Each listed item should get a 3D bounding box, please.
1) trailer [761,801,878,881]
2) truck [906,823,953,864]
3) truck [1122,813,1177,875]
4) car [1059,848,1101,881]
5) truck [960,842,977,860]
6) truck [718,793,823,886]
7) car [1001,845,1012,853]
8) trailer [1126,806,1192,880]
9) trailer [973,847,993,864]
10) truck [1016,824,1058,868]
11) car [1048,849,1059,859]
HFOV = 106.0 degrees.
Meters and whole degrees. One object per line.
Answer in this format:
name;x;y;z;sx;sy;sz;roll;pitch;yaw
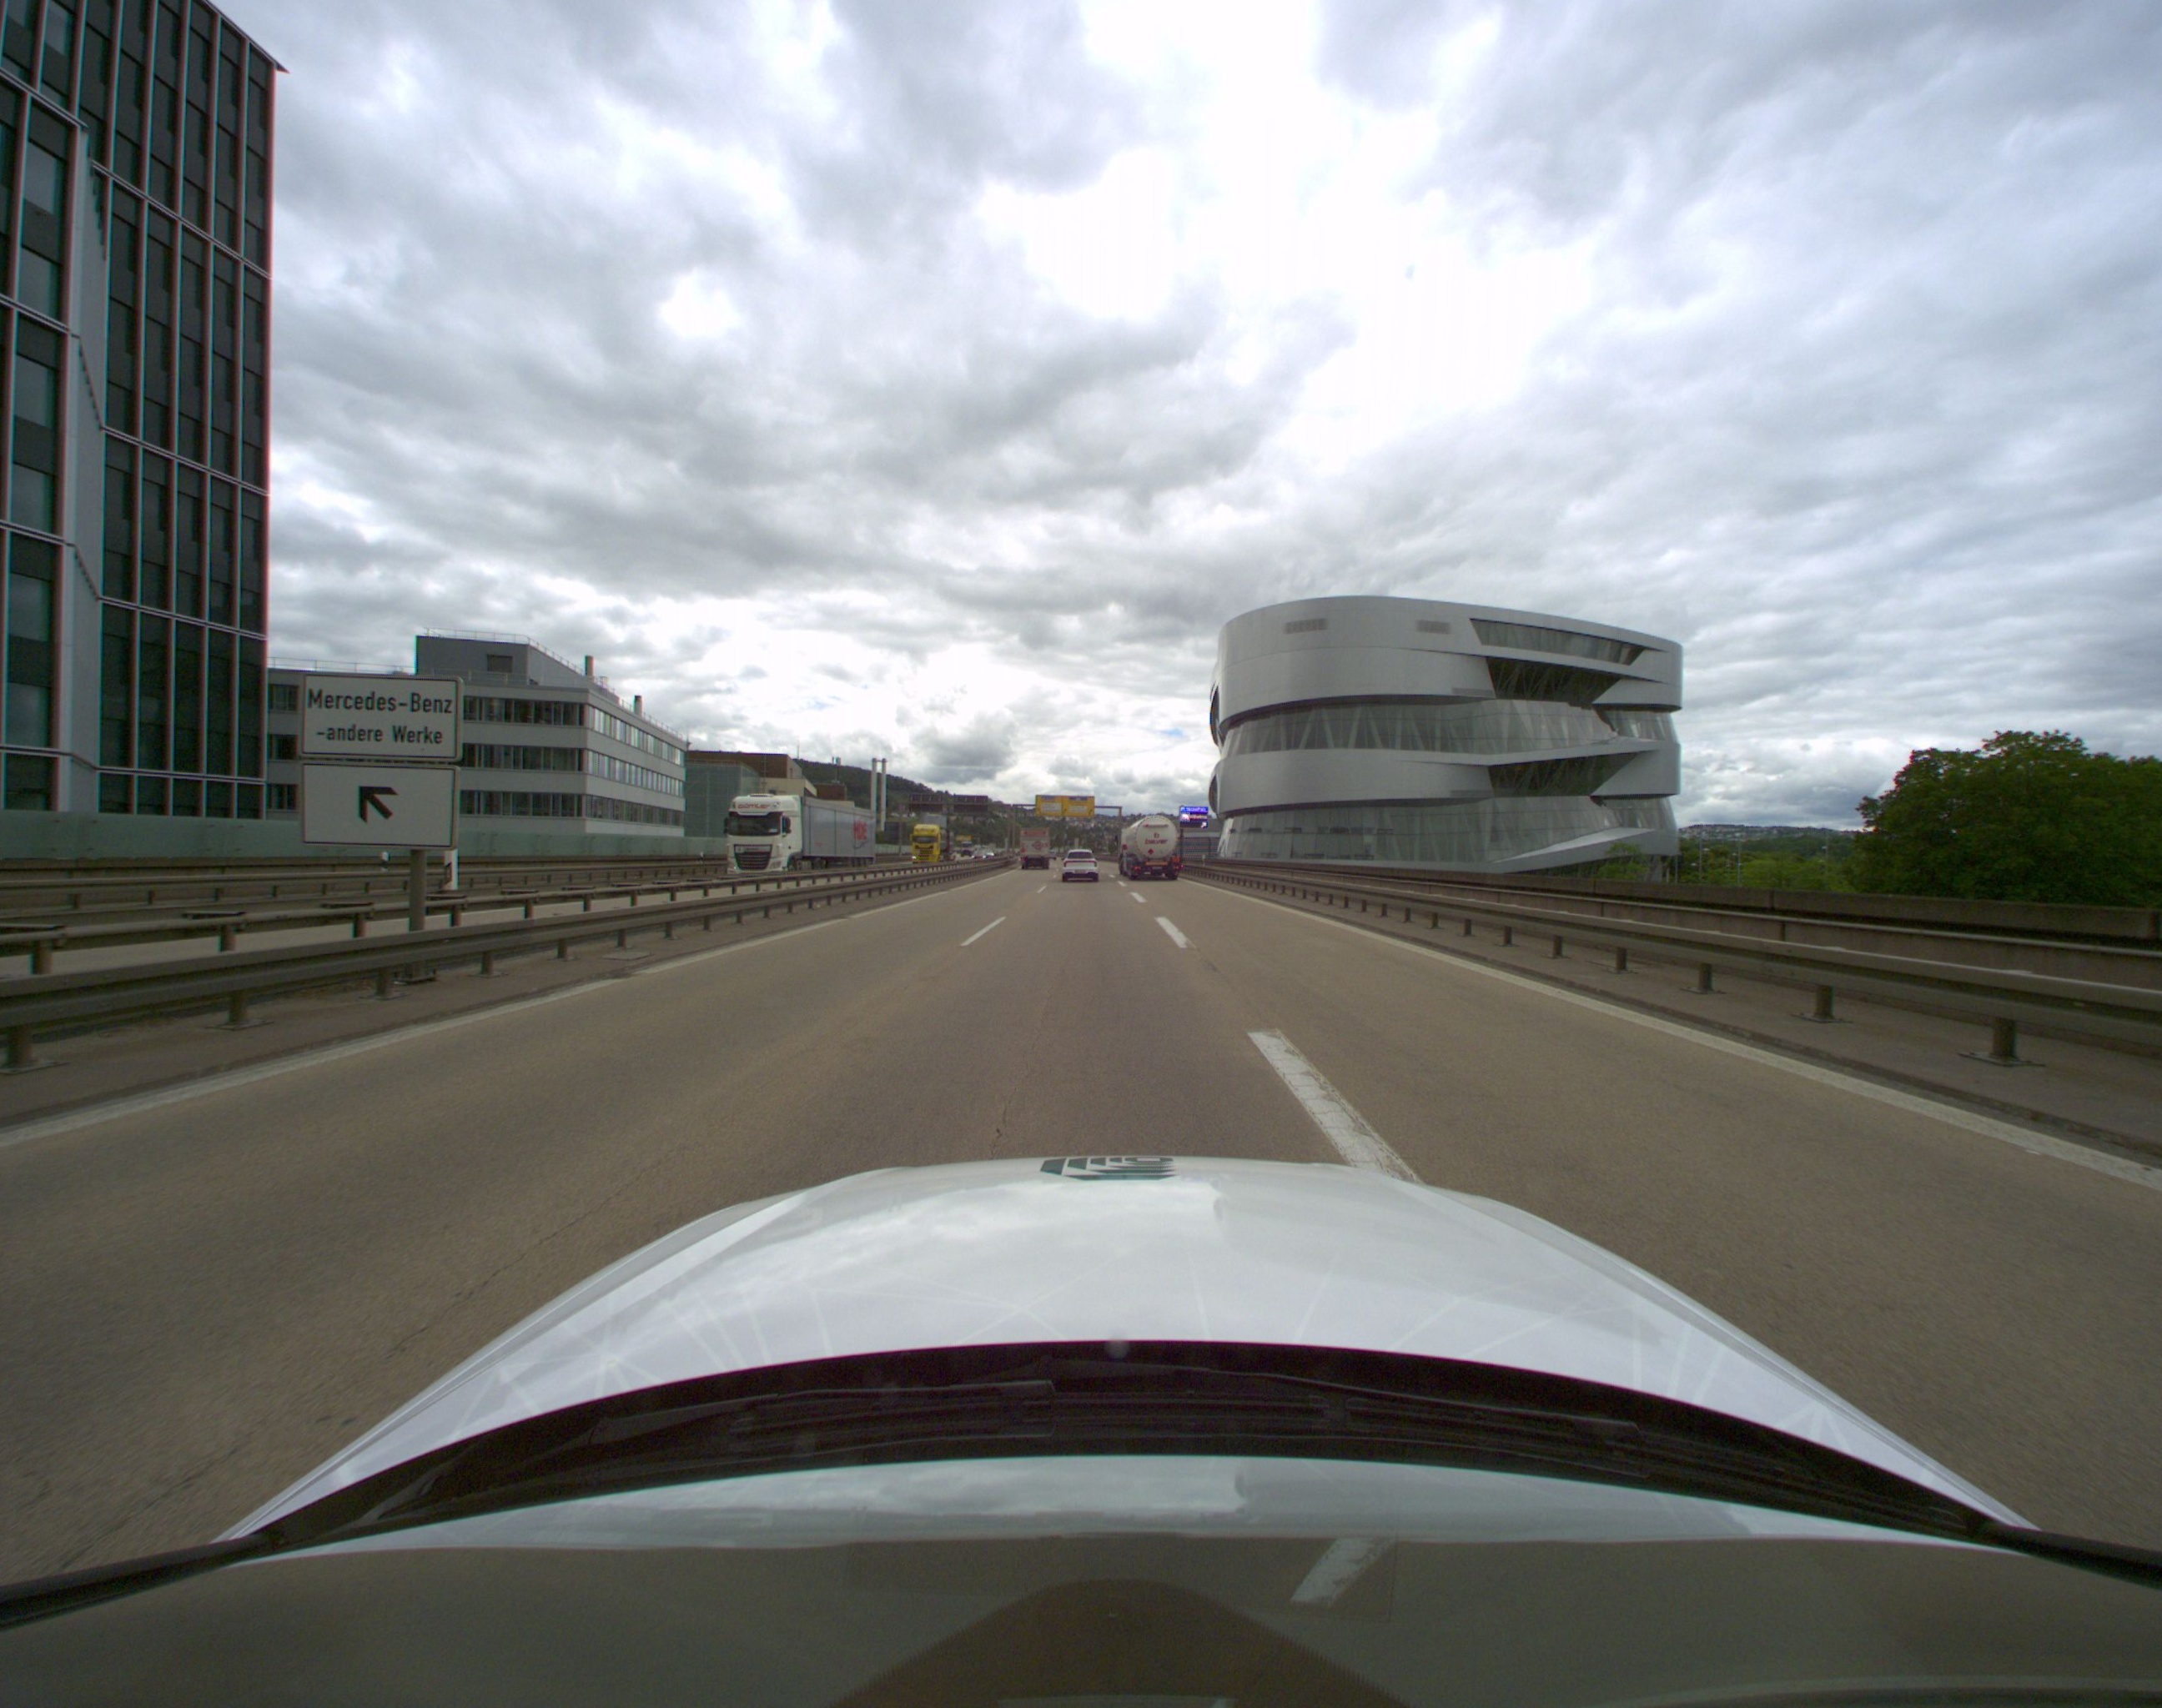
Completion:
trailer;-14.464;-0.625;46.413;2.835;3.987;11.883;0;0;0
truck;-15.756;-0.983;85.476;3.049;4.065;11.847;0;-1;-2
truck;4.208;-0.543;51.402;3.004;3.657;6.273;0;-1;1
car;-0.010;0.545;42.908;1.985;1.675;4.411;0;-1;3
truck;-25.498;-0.639;185.036;3.051;3.776;12.498;0;-1;-4
truck;-14.455;-0.673;38.365;2.763;4.079;5.645;0;1;-1
car;-15.220;-0.962;165.919;1.989;1.606;4.801;0;-1;-3
trailer;4.191;-0.538;45.699;3.046;3.790;8.304;0;-1;1
trailer;-11.957;0.206;99.276;1.987;2.014;3.999;0;-1;0
truck;-3.862;-0.634;72.911;3.045;3.691;8.306;0;-1;2
car;-4.744;-0.020;141.610;1.677;1.650;4.359;1;-1;0
